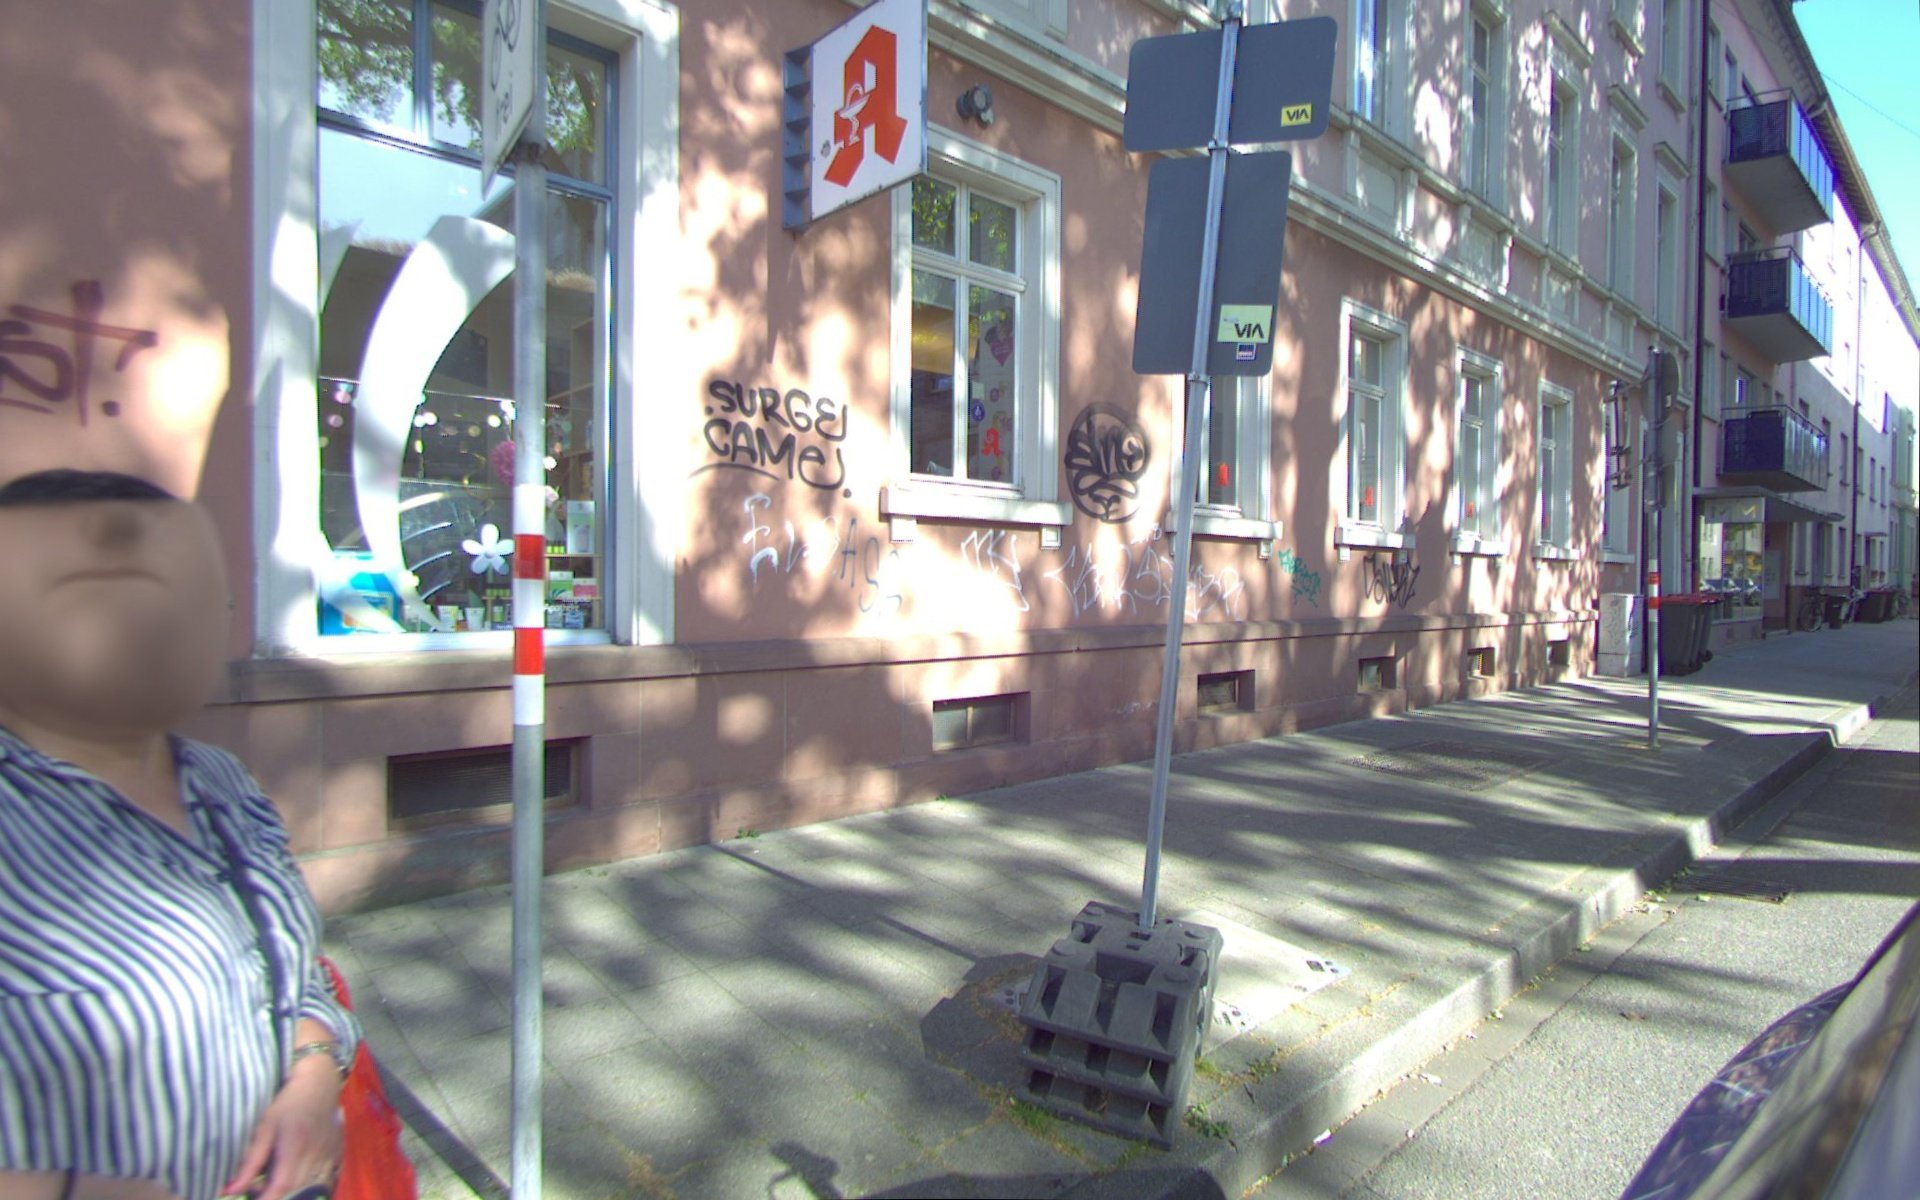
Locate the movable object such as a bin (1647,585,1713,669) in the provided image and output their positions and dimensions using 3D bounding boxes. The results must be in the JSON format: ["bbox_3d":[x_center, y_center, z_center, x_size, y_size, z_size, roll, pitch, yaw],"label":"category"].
[{"bbox_3d":[9.974,0.360,14.011,0.643,1.097,0.570,-1,4,-43],"label":"movable object such as a bin"}]

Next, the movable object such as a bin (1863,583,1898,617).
[{"bbox_3d":[28.606,-0.008,31.447,0.537,1.014,0.716,-1,4,-43],"label":"movable object such as a bin"}]

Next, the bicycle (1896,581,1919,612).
[{"bbox_3d":[34.575,-0.151,36.882,1.899,1.109,0.489,-1,2,-41],"label":"bicycle"}]

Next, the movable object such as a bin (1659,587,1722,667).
[{"bbox_3d":[10.421,0.371,14.438,0.602,1.071,0.570,-1,4,-43],"label":"movable object such as a bin"}]

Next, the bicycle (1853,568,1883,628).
[{"bbox_3d":[27.193,-0.072,30.308,2.070,1.757,0.402,-1,1,-41],"label":"bicycle"}]

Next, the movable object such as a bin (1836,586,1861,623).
[{"bbox_3d":[23.538,0.107,26.801,0.297,0.951,0.415,-1,4,-43],"label":"movable object such as a bin"}]

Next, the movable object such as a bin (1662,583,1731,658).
[{"bbox_3d":[11.565,0.308,15.904,0.608,1.097,0.717,-1,4,-43],"label":"movable object such as a bin"}]

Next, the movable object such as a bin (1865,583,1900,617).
[{"bbox_3d":[29.050,0.001,31.861,0.537,1.014,0.716,-1,4,-43],"label":"movable object such as a bin"}]

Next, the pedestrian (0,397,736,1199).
[{"bbox_3d":[-0.850,0.616,1.084,0.836,1.591,0.841,5,6,19],"label":"pedestrian"}]

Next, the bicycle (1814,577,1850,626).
[{"bbox_3d":[21.629,0.013,25.086,1.990,1.164,0.402,-1,1,-41],"label":"bicycle"}]
